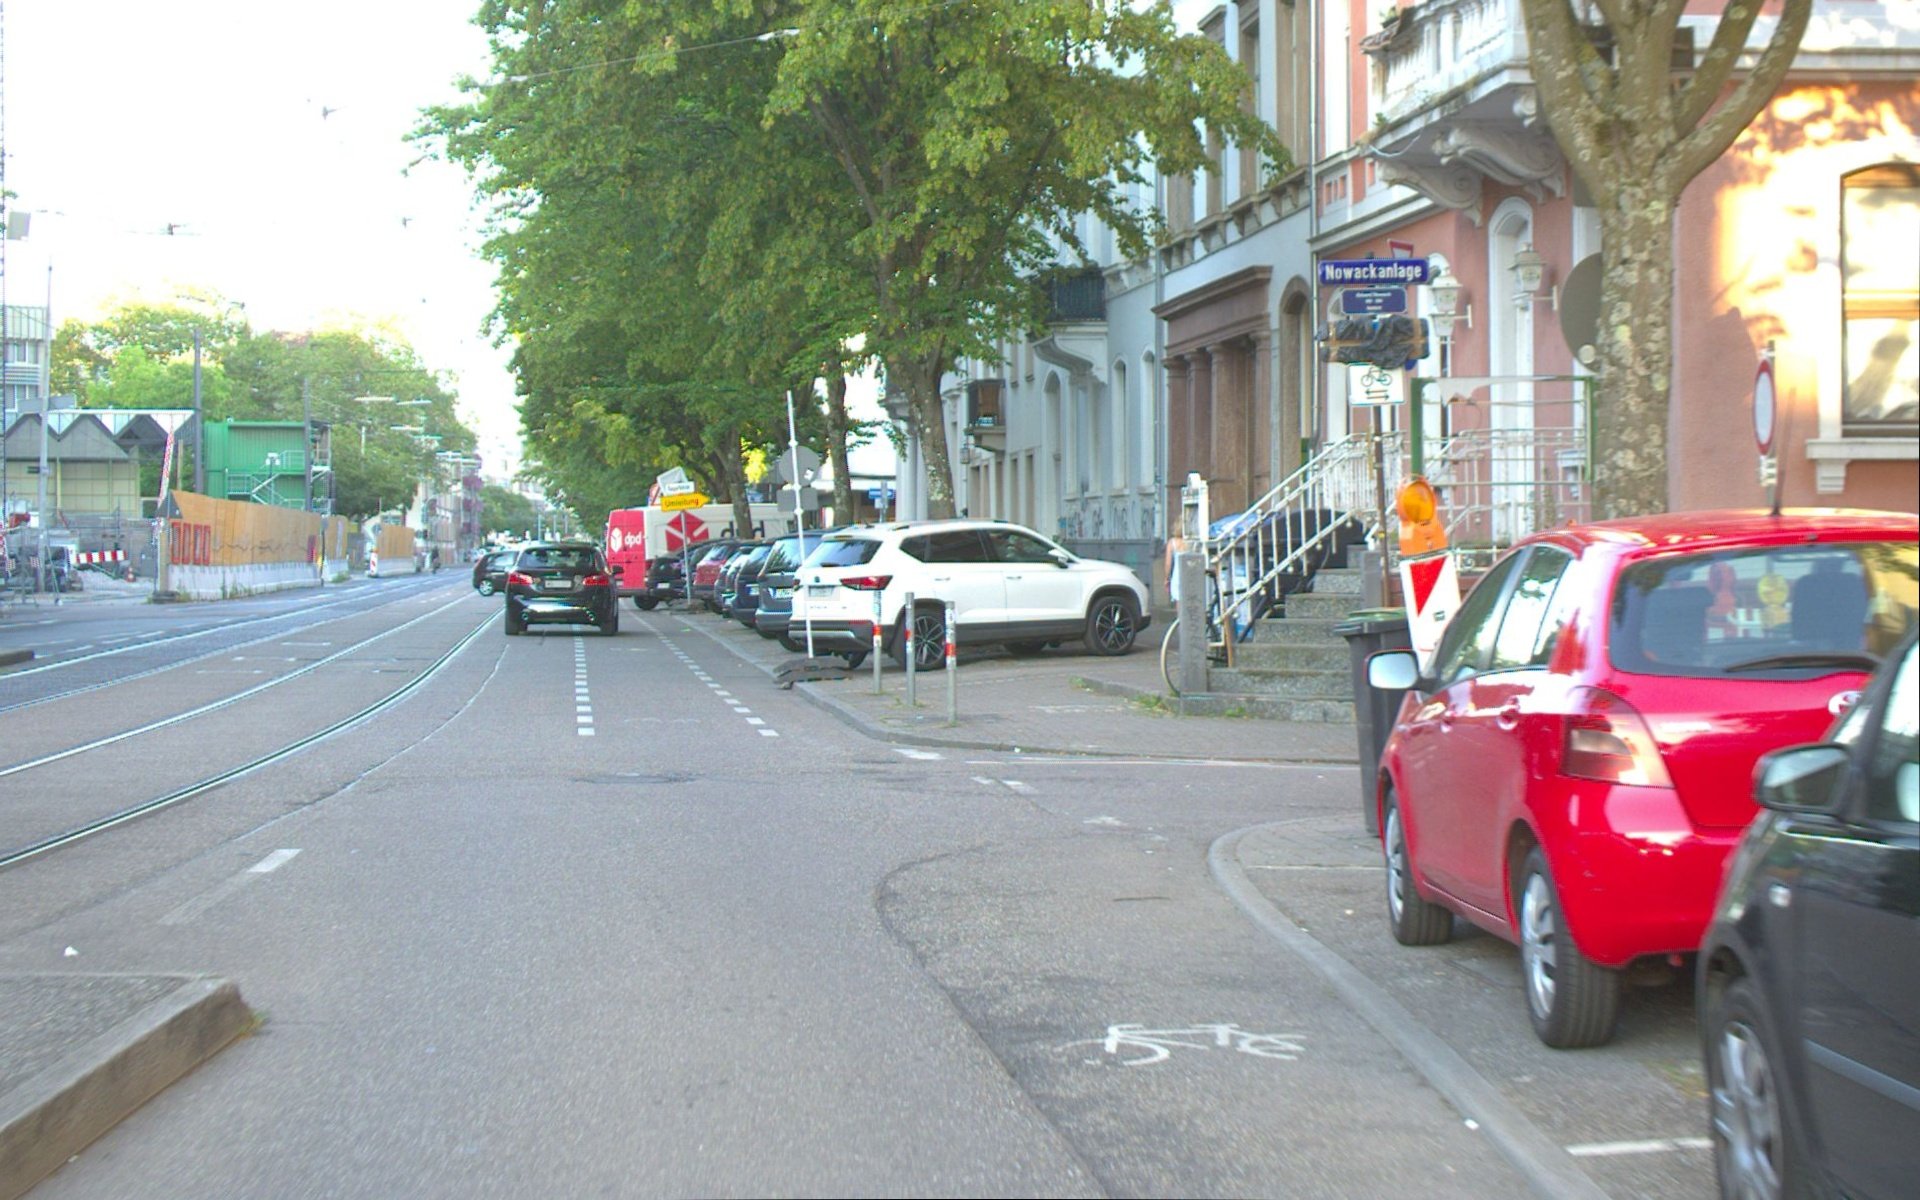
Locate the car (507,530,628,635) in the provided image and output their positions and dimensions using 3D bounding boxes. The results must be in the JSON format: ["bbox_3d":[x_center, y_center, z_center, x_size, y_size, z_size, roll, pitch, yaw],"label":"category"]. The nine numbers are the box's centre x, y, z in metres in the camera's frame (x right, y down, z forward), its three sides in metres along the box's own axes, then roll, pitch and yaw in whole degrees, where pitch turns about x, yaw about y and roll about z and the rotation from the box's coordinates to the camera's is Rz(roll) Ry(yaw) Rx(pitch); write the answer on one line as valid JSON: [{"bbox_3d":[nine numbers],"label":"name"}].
[{"bbox_3d":[-6.569,-0.312,57.418,1.881,1.614,4.001,2,1,-7],"label":"car"}]

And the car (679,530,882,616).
[{"bbox_3d":[-3.906,-0.592,74.931,3.942,1.598,1.840,-4,2,-33],"label":"car"}]

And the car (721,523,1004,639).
[{"bbox_3d":[-1.467,-0.299,52.446,3.943,1.598,1.840,-3,1,-38],"label":"car"}]

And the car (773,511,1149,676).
[{"bbox_3d":[0.036,-0.111,38.502,3.943,1.621,1.674,-4,3,-37],"label":"car"}]

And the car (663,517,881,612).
[{"bbox_3d":[-3.775,-0.728,69.386,3.943,1.598,1.840,-5,1,-38],"label":"car"}]

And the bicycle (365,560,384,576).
[{"bbox_3d":[-31.631,-1.736,185.782,0.947,0.846,2.697,-1,1,-9],"label":"bicycle"}]

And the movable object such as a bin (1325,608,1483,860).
[{"bbox_3d":[2.088,0.622,16.231,0.712,1.149,0.588,1,1,6],"label":"movable object such as a bin"}]

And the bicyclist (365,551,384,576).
[{"bbox_3d":[-31.646,-1.985,185.871,0.944,1.341,1.112,-1,0,-9],"label":"bicyclist"}]

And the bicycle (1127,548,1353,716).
[{"bbox_3d":[2.216,0.231,27.053,1.913,1.262,0.601,-1,1,-41],"label":"bicycle"}]

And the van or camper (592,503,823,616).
[{"bbox_3d":[-6.326,-1.046,86.605,5.534,2.522,2.086,-4,2,-41],"label":"van or camper"}]

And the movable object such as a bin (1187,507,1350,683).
[{"bbox_3d":[2.682,-0.053,30.060,1.140,1.497,1.399,0,1,-7],"label":"movable object such as a bin"}]

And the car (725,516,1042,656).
[{"bbox_3d":[-1.005,-0.202,46.396,3.944,1.663,1.900,-4,1,-43],"label":"car"}]

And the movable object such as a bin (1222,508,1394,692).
[{"bbox_3d":[2.882,-0.011,28.643,1.140,1.497,1.399,0,1,-7],"label":"movable object such as a bin"}]

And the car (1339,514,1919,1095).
[{"bbox_3d":[2.292,0.515,11.167,1.564,1.531,3.693,-2,1,-2],"label":"car"}]

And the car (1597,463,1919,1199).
[{"bbox_3d":[2.396,0.568,5.420,1.743,1.626,4.089,-2,1,-4],"label":"car"}]

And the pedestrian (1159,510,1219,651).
[{"bbox_3d":[2.631,-0.228,39.606,0.586,1.604,0.625,0,1,-6],"label":"pedestrian"}]
